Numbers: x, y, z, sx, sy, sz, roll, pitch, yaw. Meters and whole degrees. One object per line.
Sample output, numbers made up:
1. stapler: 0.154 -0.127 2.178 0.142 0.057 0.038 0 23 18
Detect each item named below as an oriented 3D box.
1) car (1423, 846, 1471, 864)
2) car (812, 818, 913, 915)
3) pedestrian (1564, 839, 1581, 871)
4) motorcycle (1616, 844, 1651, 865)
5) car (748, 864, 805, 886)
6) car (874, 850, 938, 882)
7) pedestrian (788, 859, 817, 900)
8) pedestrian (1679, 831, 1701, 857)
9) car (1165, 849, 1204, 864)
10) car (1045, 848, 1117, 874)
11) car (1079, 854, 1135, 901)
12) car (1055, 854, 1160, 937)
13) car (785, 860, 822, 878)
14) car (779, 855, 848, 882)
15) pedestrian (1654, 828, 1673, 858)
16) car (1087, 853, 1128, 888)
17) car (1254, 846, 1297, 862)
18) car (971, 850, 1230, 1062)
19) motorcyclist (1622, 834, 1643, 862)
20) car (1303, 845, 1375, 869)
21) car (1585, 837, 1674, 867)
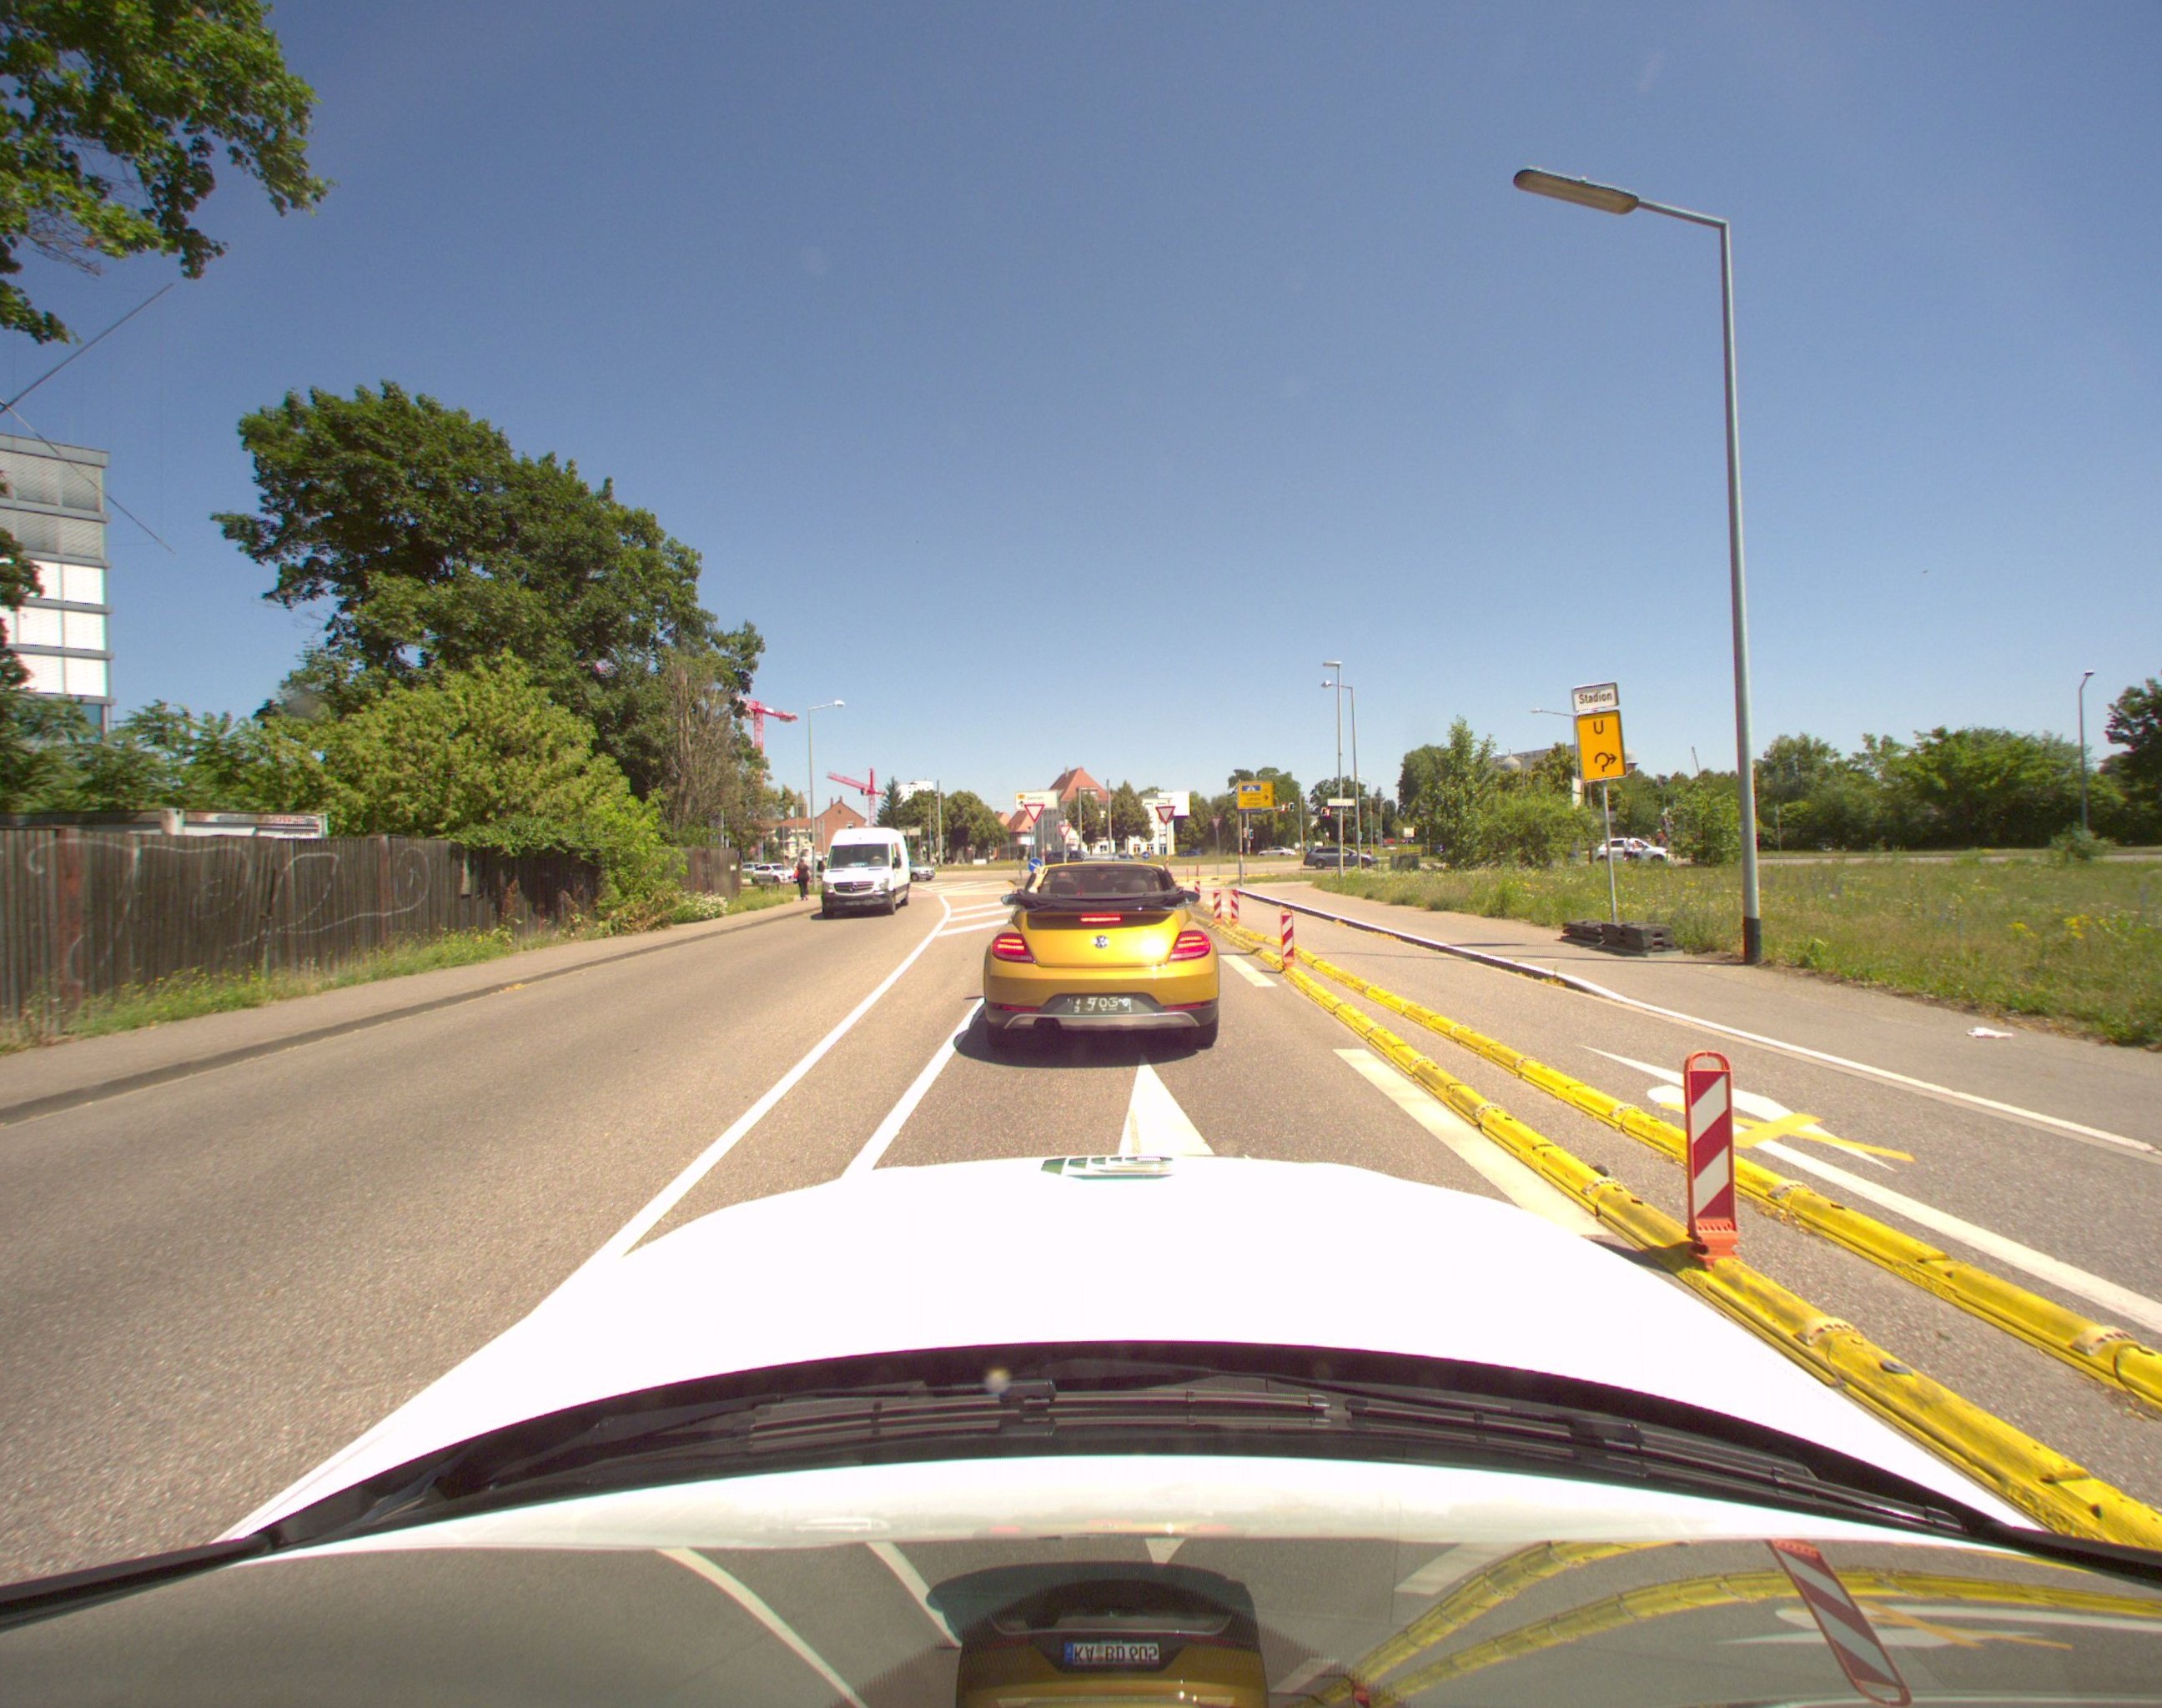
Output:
1. car: 36.134 0.111 80.535 1.948 1.672 4.175 -2 0 -18
2. car: -6.598 0.359 25.417 2.018 2.539 6.810 -3 0 -7
3. pedestrian: 24.273 0.048 40.228 0.495 1.563 0.514 -1 0 1
4. motorcycle: 26.044 0.014 38.415 1.712 0.970 0.625 -1 0 -28
5. car: -21.644 1.486 57.876 3.969 1.444 1.643 -1 0 30
6. car: -11.225 0.737 52.207 3.634 1.850 1.641 -3 -1 21
7. pedestrian: -10.864 0.977 31.806 0.806 1.563 0.876 -1 0 -3
8. pedestrian: 38.119 -0.624 50.987 0.789 1.563 0.823 -1 0 3
9. car: 14.338 0.346 112.639 4.871 1.786 2.038 -3 0 25
10. car: 0.049 0.422 53.159 4.408 1.596 2.005 -1 0 8
11. car: 0.888 0.734 27.495 1.730 1.442 4.002 -1 0 2
12. car: 0.532 0.734 16.401 1.841 1.442 4.002 -1 0 2
13. car: -24.811 1.292 72.979 1.750 1.549 4.002 -1 0 2
14. car: -19.727 1.074 59.924 4.923 1.850 2.012 -1 0 29
15. pedestrian: 36.685 -0.691 51.253 0.647 1.870 0.737 -1 0 3
16. car: 1.181 0.701 36.473 1.730 1.477 4.002 -1 0 2
17. car: 25.337 -0.013 106.190 5.113 1.786 2.039 -3 0 40
18. car: 0.182 0.704 7.461 1.746 1.422 3.778 -1 0 1
19. motorcyclist: 26.064 -0.274 38.461 0.616 1.289 0.576 -1 0 -28
20. car: 16.083 0.210 50.931 4.162 1.391 1.909 -1 0 15
21. car: 29.990 -0.083 44.671 3.949 1.552 1.751 -1 0 30
